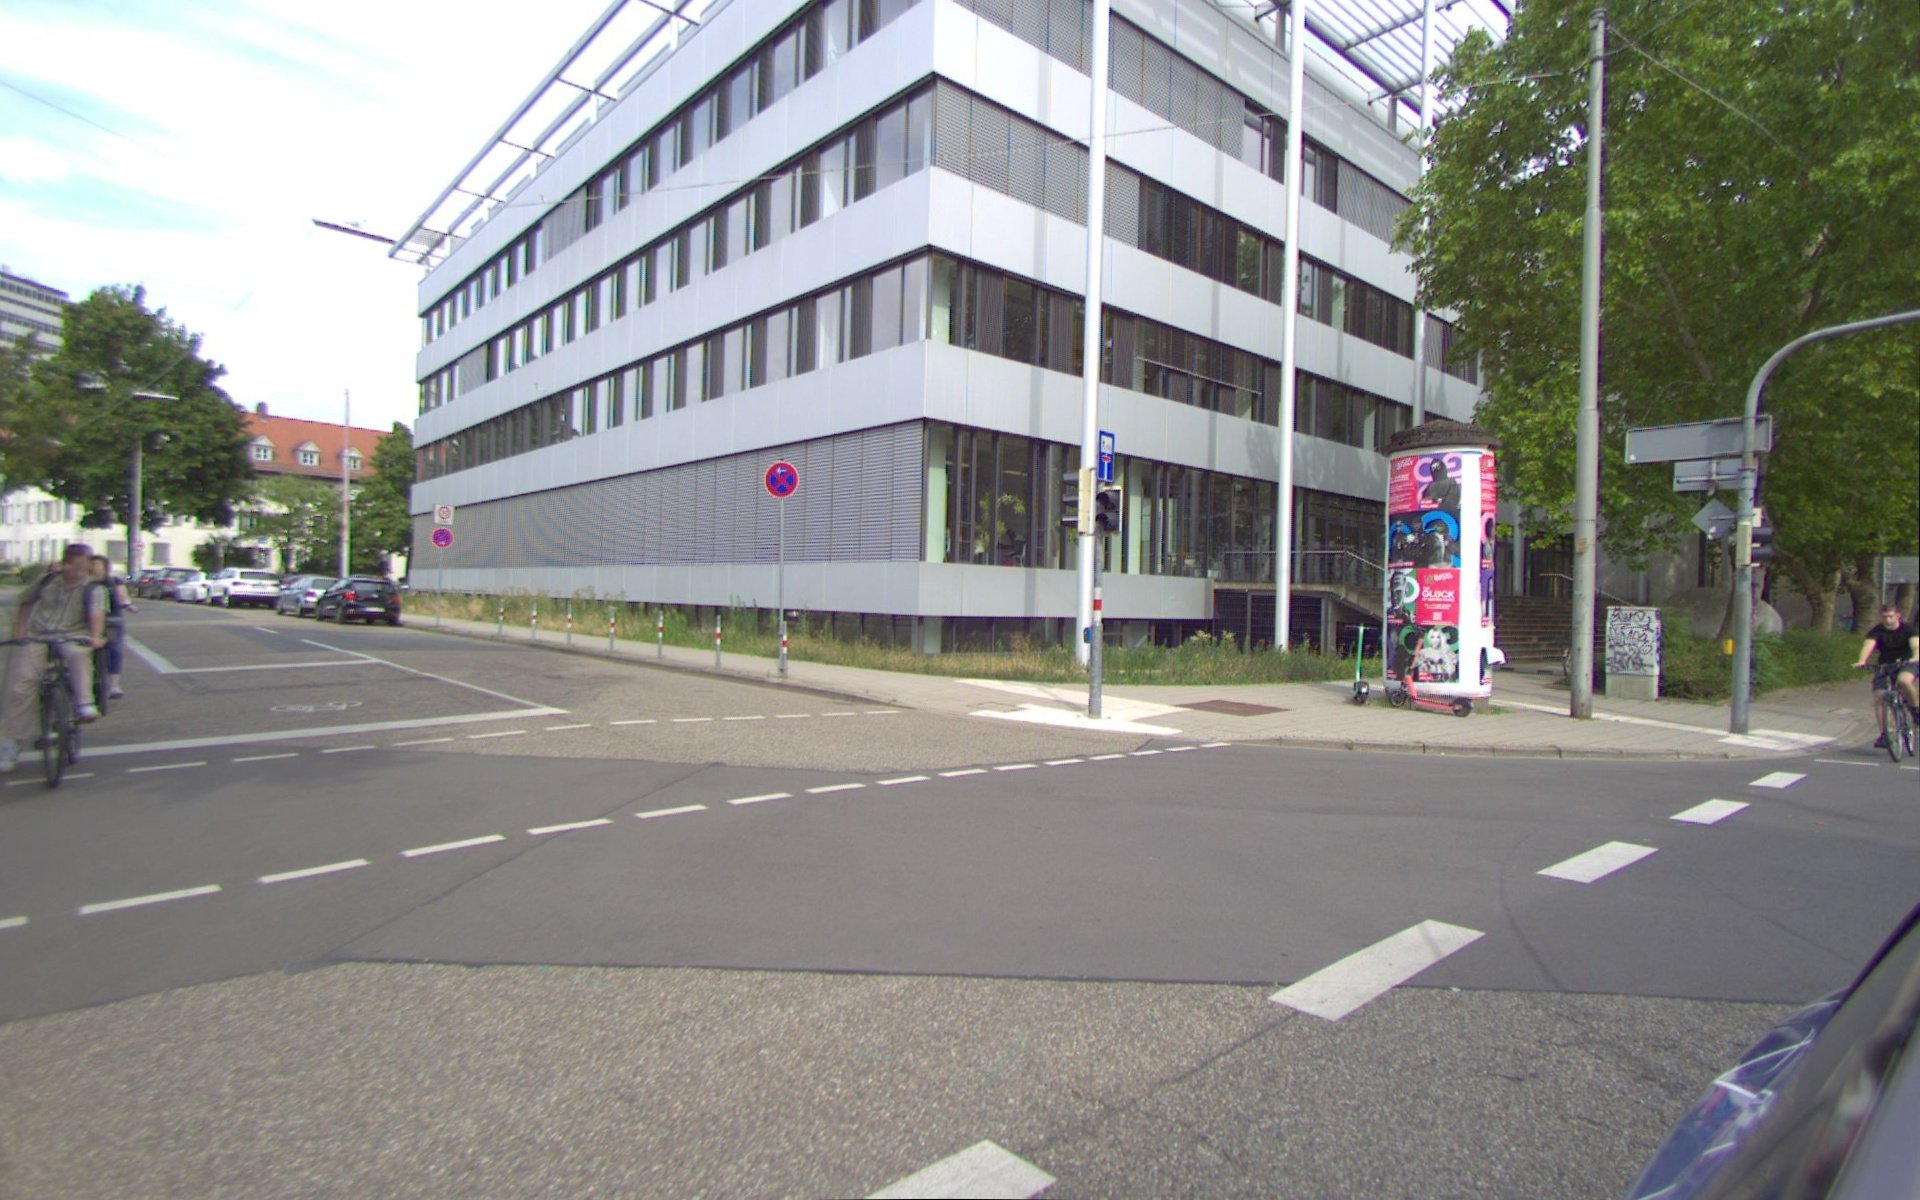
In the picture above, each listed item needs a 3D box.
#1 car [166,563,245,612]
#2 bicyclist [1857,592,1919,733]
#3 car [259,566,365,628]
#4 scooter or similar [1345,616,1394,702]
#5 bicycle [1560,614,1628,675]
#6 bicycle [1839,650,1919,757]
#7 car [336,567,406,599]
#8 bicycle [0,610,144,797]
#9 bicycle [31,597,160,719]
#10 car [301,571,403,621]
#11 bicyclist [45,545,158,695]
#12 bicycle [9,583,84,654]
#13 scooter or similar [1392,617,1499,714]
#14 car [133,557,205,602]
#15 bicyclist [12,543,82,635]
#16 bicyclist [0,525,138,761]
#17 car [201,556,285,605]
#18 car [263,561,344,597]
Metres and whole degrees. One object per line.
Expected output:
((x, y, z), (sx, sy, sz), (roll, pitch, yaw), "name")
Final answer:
((-33.838, -0.512, 45.344), (3.981, 2.040, 1.971), (-1, -2, 40), "car")
((11.244, 0.727, 11.937), (0.786, 1.604, 0.773), (2, -3, -33), "bicyclist")
((-22.441, -0.069, 35.005), (3.981, 2.040, 1.971), (-1, -2, 40), "car")
((6.090, 0.858, 15.096), (0.465, 1.151, 1.304), (3, 2, 15), "scooter or similar")
((12.795, 0.880, 20.400), (1.695, 1.184, 0.699), (2, -2, -41), "bicycle")
((11.218, 1.178, 11.916), (1.964, 1.145, 0.773), (2, -3, -33), "bicycle")
((-41.285, -1.175, 70.953), (3.929, 2.040, 1.997), (2, -2, -40), "car")
((-6.939, 0.704, 7.785), (0.898, 1.187, 2.251), (0, 1, -36), "bicycle")
((-9.536, 0.575, 11.251), (0.898, 1.187, 2.251), (0, 1, -36), "bicycle")
((-19.017, -0.078, 31.600), (3.635, 1.463, 1.651), (-1, -2, 40), "car")
((-9.600, 0.201, 11.355), (0.898, 1.596, 0.831), (0, 0, -36), "bicyclist")
((-16.445, 0.298, 18.266), (0.899, 1.187, 2.249), (0, 1, -40), "bicycle")
((6.825, 0.897, 14.280), (0.338, 1.224, 1.310), (2, 2, -36), "scooter or similar")
((-38.458, -0.937, 49.192), (3.981, 2.040, 1.971), (-1, -2, 40), "car")
((-16.443, -0.196, 18.259), (0.899, 1.596, 0.831), (0, 0, -40), "bicyclist")
((-6.938, 0.304, 7.787), (0.898, 1.699, 0.831), (0, 0, -36), "bicyclist")
((-29.749, -0.757, 41.983), (3.861, 1.885, 1.925), (-1, -2, 40), "car")
((-40.345, -1.280, 62.214), (3.929, 2.040, 1.997), (2, -2, -41), "car")
